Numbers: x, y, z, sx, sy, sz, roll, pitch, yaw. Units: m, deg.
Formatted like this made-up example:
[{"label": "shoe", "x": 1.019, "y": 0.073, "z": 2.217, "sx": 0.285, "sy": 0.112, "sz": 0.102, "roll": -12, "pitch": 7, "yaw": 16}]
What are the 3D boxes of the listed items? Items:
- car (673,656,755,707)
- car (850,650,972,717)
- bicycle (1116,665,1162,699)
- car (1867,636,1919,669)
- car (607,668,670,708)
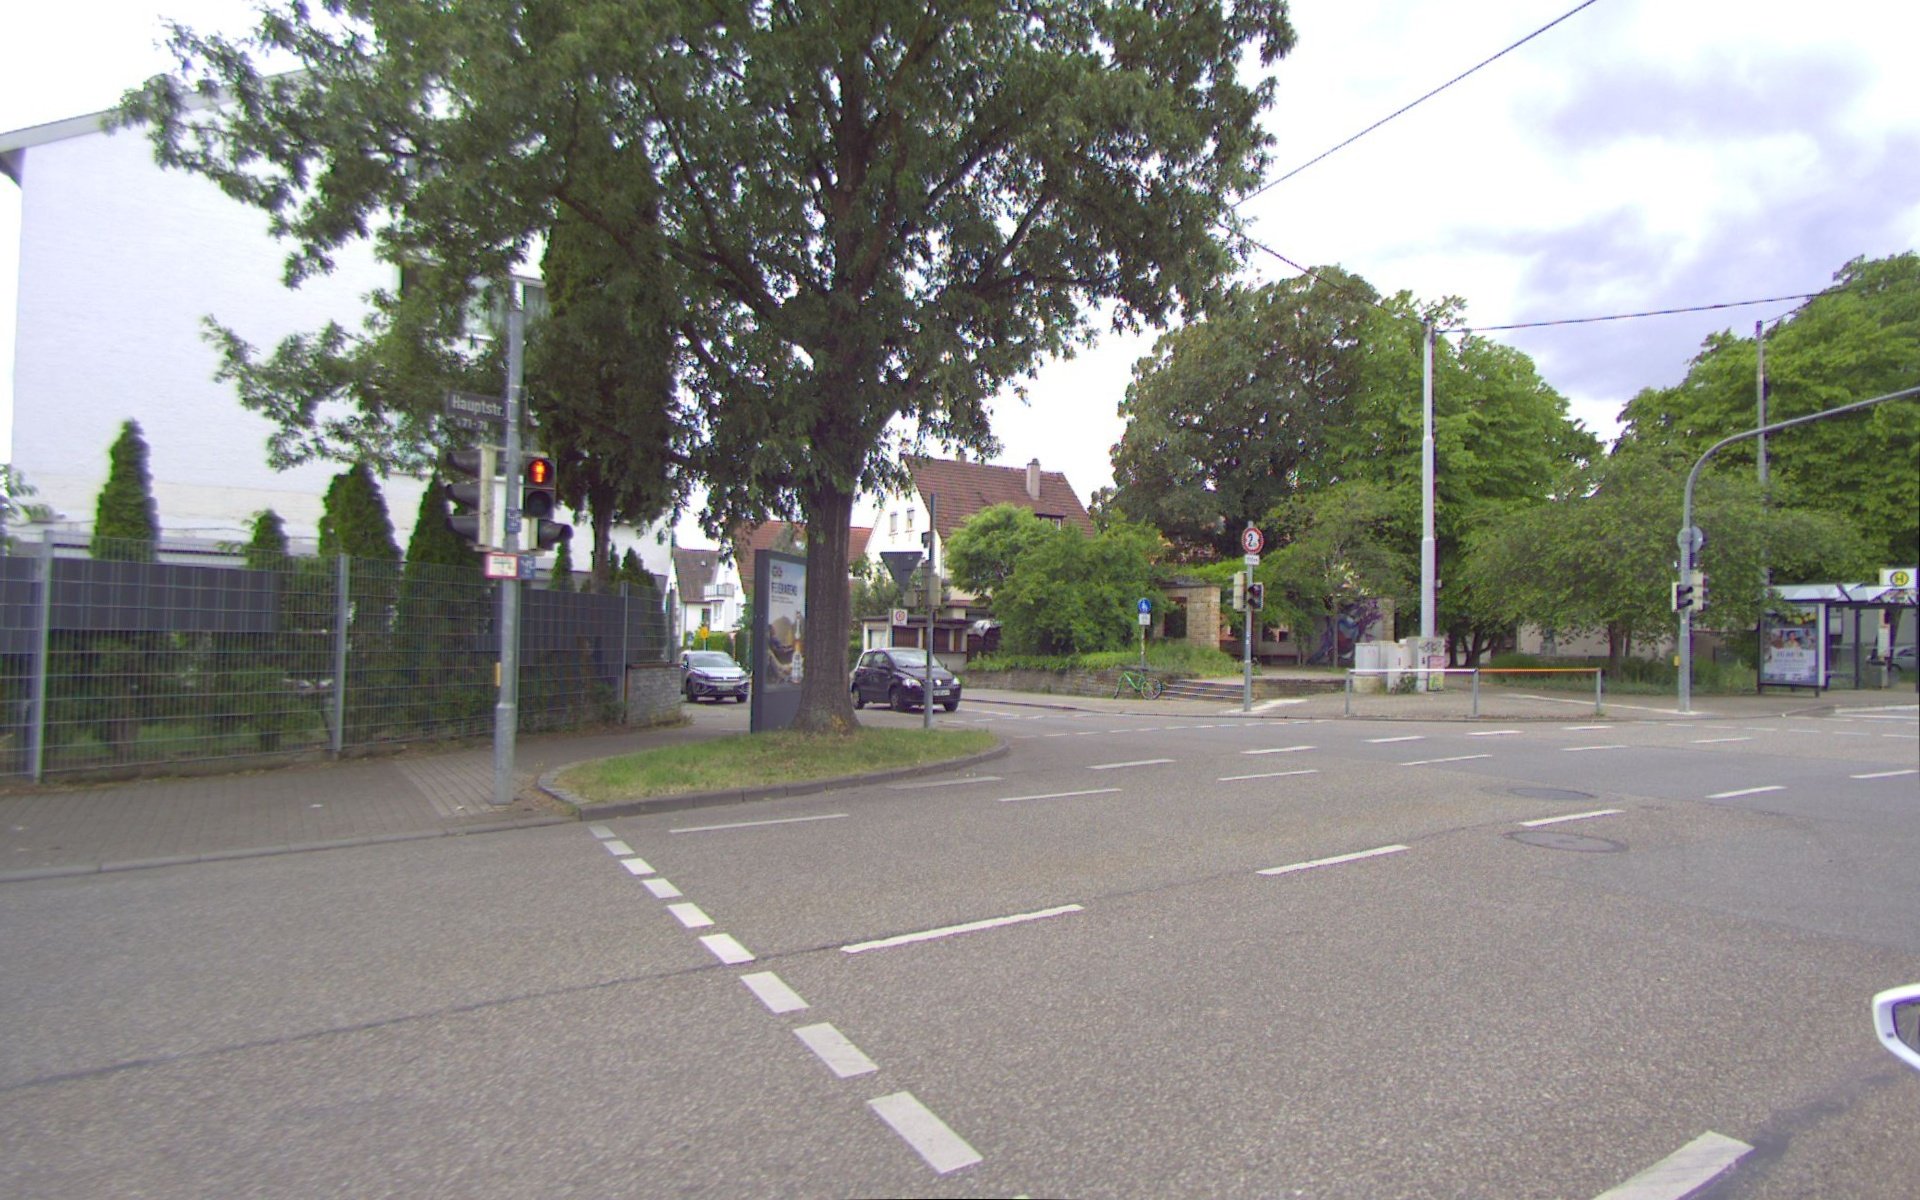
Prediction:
[{"label": "car", "x": -7.696, "y": 2.510, "z": 31.190, "sx": 1.733, "sy": 1.416, "sz": 3.624, "roll": -1, "pitch": -4, "yaw": -26}, {"label": "car", "x": -1.280, "y": 1.986, "z": 24.703, "sx": 1.748, "sy": 1.417, "sz": 3.623, "roll": 0, "pitch": -2, "yaw": -26}, {"label": "bicycle", "x": 5.120, "y": 2.347, "z": 28.819, "sx": 0.422, "sy": 0.954, "sz": 1.303, "roll": 2, "pitch": -5, "yaw": -40}, {"label": "car", "x": 40.105, "y": 2.159, "z": 41.164, "sx": 1.699, "sy": 1.349, "sz": 3.977, "roll": 2, "pitch": -4, "yaw": -24}, {"label": "car", "x": -13.009, "y": 3.529, "z": 40.522, "sx": 1.806, "sy": 1.458, "sz": 3.621, "roll": 0, "pitch": -4, "yaw": -28}]
